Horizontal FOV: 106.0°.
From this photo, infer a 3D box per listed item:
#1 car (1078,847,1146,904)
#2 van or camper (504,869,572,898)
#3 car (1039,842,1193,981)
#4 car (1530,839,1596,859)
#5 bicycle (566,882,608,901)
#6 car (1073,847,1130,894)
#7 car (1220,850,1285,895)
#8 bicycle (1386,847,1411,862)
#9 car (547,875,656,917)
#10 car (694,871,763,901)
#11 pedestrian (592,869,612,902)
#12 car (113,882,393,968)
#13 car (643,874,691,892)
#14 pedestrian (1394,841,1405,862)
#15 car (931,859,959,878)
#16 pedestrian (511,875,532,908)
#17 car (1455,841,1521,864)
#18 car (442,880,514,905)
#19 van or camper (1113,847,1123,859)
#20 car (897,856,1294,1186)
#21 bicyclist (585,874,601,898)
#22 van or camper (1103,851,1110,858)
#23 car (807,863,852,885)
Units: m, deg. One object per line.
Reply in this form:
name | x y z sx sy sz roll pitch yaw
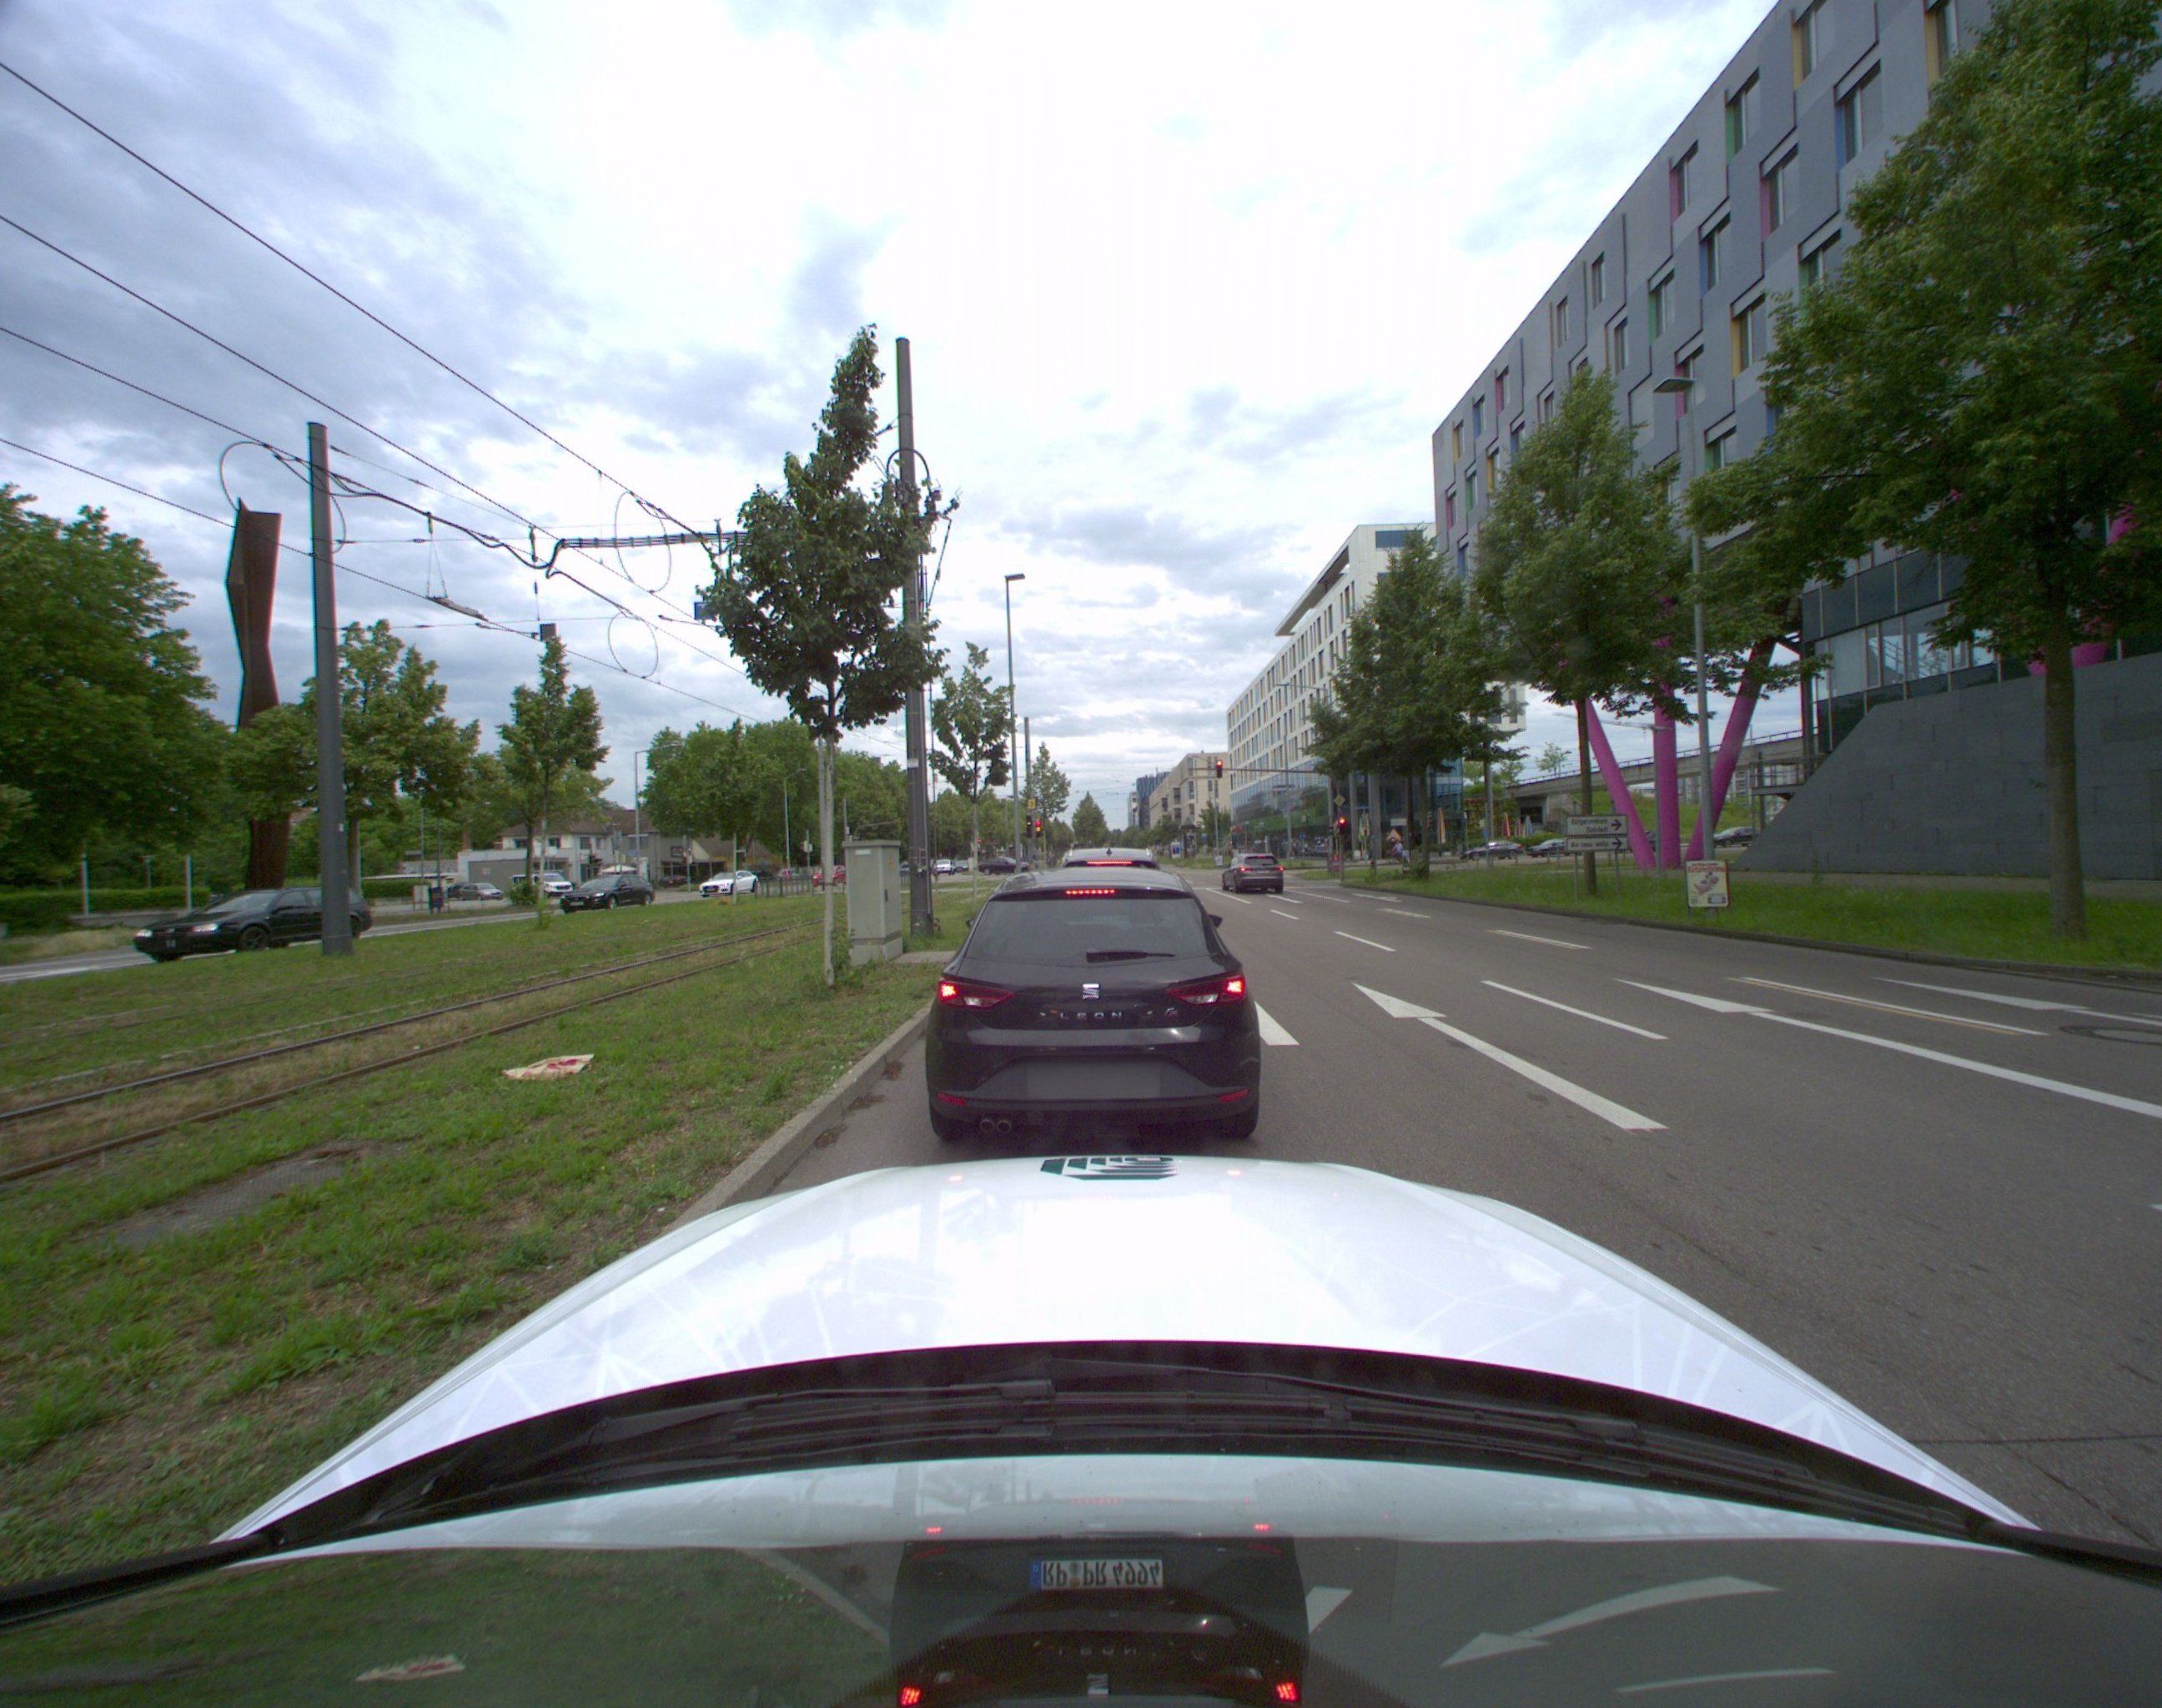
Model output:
car | 1.085 0.629 26.199 1.984 1.682 4.005 -1 0 5
van or camper | -41.611 2.273 62.337 5.212 2.013 2.481 -2 0 34
car | 0.481 0.688 11.818 1.796 1.624 4.002 -2 0 2
car | 37.872 -0.392 64.040 4.063 1.455 1.759 -2 0 3
bicycle | -35.739 2.682 58.980 2.520 1.202 0.734 -2 0 -25
car | 0.856 0.571 31.270 1.985 1.682 4.005 -1 0 4
car | 6.517 0.658 31.371 1.741 1.499 4.271 -2 1 2
bicycle | 25.691 0.048 65.849 1.784 1.085 0.618 -2 0 3
car | -18.806 1.611 32.187 1.795 1.377 4.058 -2 0 1
car | -21.672 1.927 50.263 1.804 1.588 5.080 -2 0 2
pedestrian | -27.830 1.819 47.329 0.779 1.832 0.771 -2 0 -16
car | -18.311 1.475 18.425 1.660 1.426 4.738 -3 0 -5
car | -47.127 3.305 92.718 4.258 1.816 2.111 -2 0 6
pedestrian | 25.740 -0.210 65.846 0.612 1.604 0.619 -2 0 4
car | -13.542 1.425 81.293 1.987 1.750 4.201 -2 0 1
pedestrian | -34.503 2.306 50.237 0.910 2.013 0.942 -2 0 -40
car | 31.856 -0.098 63.864 4.233 1.615 1.759 -2 0 3
car | -48.017 3.053 64.898 4.258 1.816 2.111 -2 0 6
van or camper | 8.529 -0.245 188.313 2.101 2.355 4.927 -1 2 2
car | 0.100 0.741 5.597 1.737 1.417 4.001 -1 0 1
bicyclist | -35.421 2.325 59.129 0.854 1.721 0.715 -2 0 -25
van or camper | 7.277 0.114 232.792 1.986 1.615 4.792 -1 1 2
car | -18.173 1.436 59.014 1.805 1.377 4.270 -2 0 1
